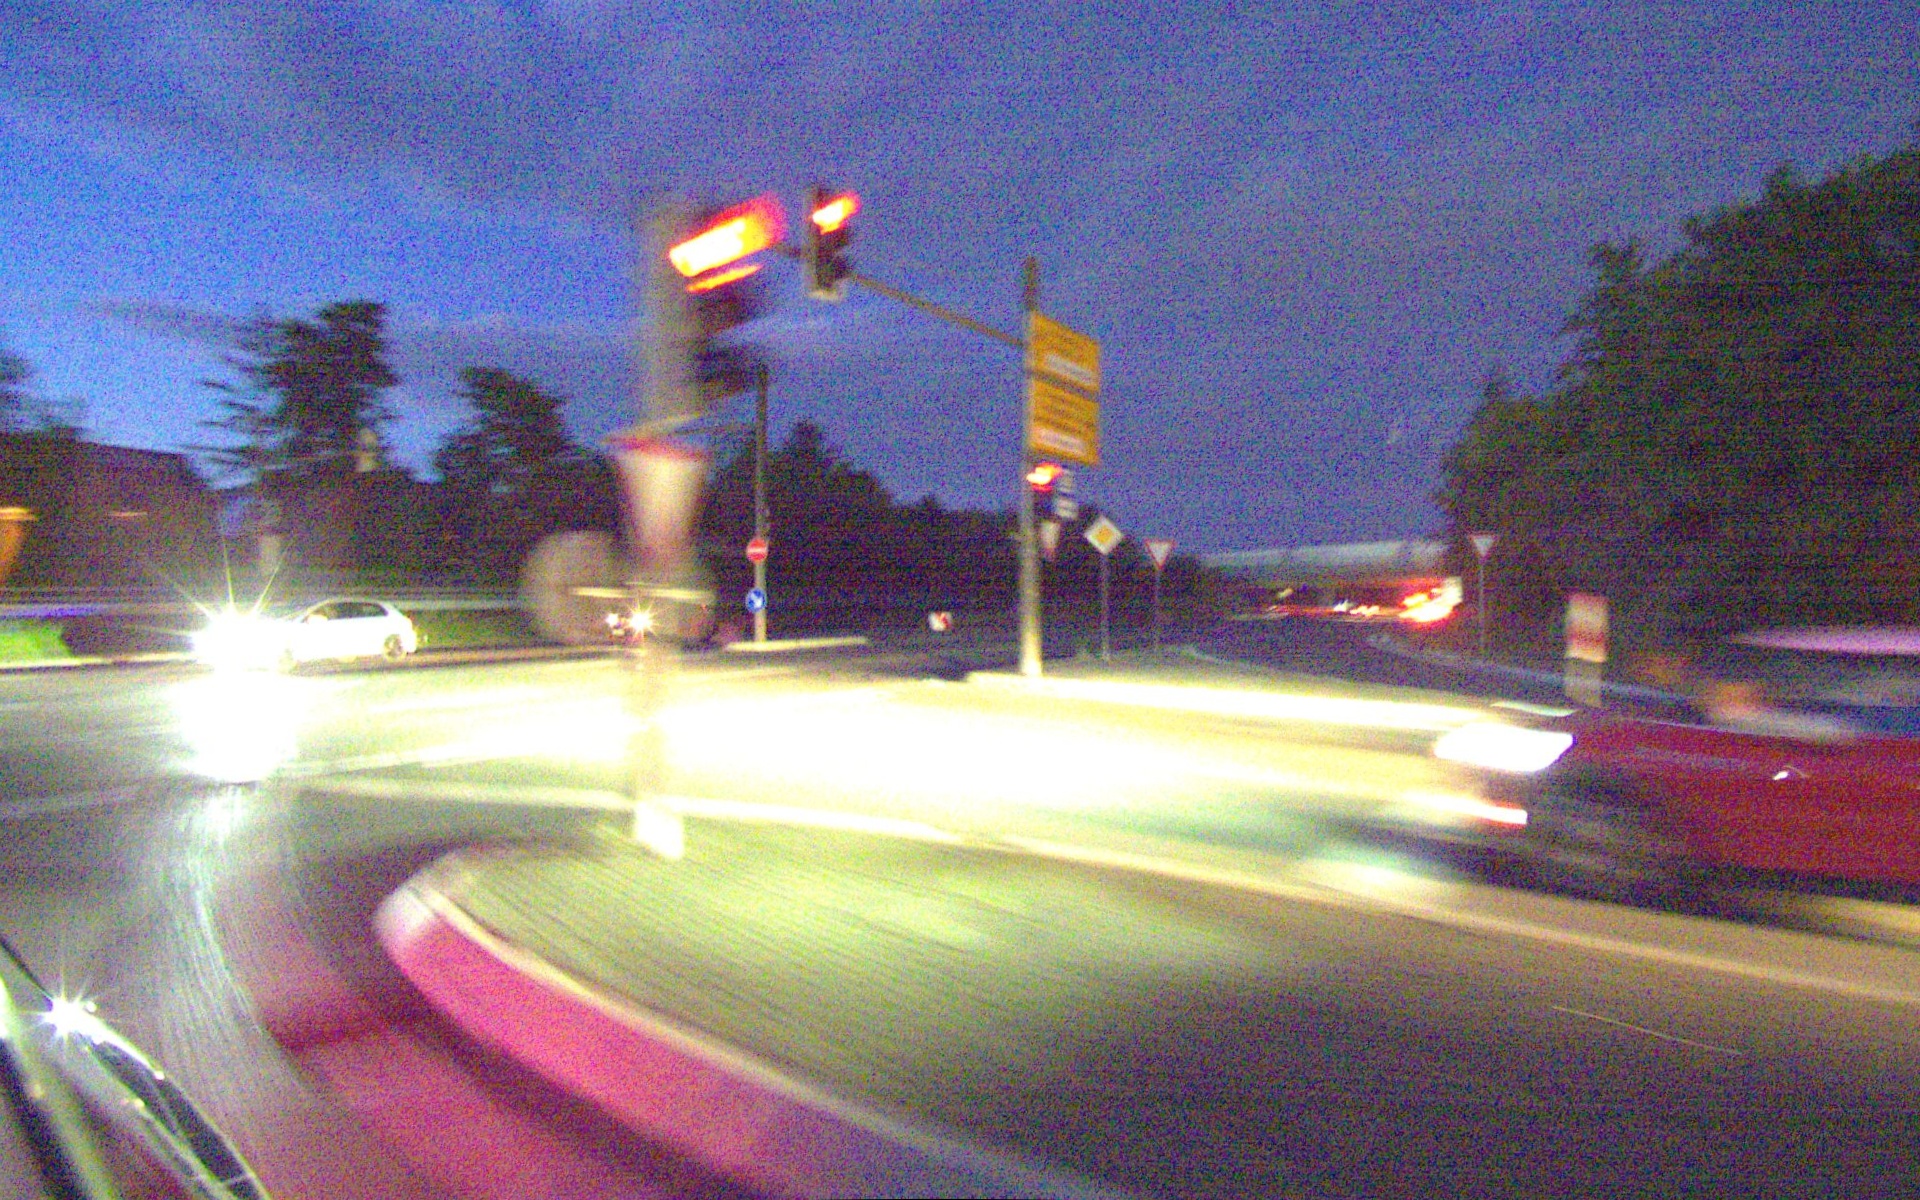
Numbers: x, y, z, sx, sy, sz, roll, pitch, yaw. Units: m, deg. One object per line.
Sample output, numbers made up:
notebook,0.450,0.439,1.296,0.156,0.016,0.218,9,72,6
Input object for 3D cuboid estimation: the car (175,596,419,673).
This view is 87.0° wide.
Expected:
car,-14.018,0.712,21.691,1.751,1.470,4.163,-2,-2,21

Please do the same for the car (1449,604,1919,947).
car,4.760,0.795,5.181,3.862,1.485,1.684,1,1,35

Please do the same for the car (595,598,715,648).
car,-9.502,0.708,31.746,1.650,1.462,3.456,-2,-2,28

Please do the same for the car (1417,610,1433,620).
car,77.235,2.523,168.086,2.119,1.643,4.653,-1,-1,28

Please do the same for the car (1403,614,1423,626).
car,61.896,2.736,138.120,1.953,1.497,4.649,1,0,31

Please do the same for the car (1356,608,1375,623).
car,44.214,1.663,110.330,1.543,1.531,3.482,1,0,28

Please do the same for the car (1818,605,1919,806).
car,8.931,0.785,7.341,3.993,1.471,1.738,-1,1,37
